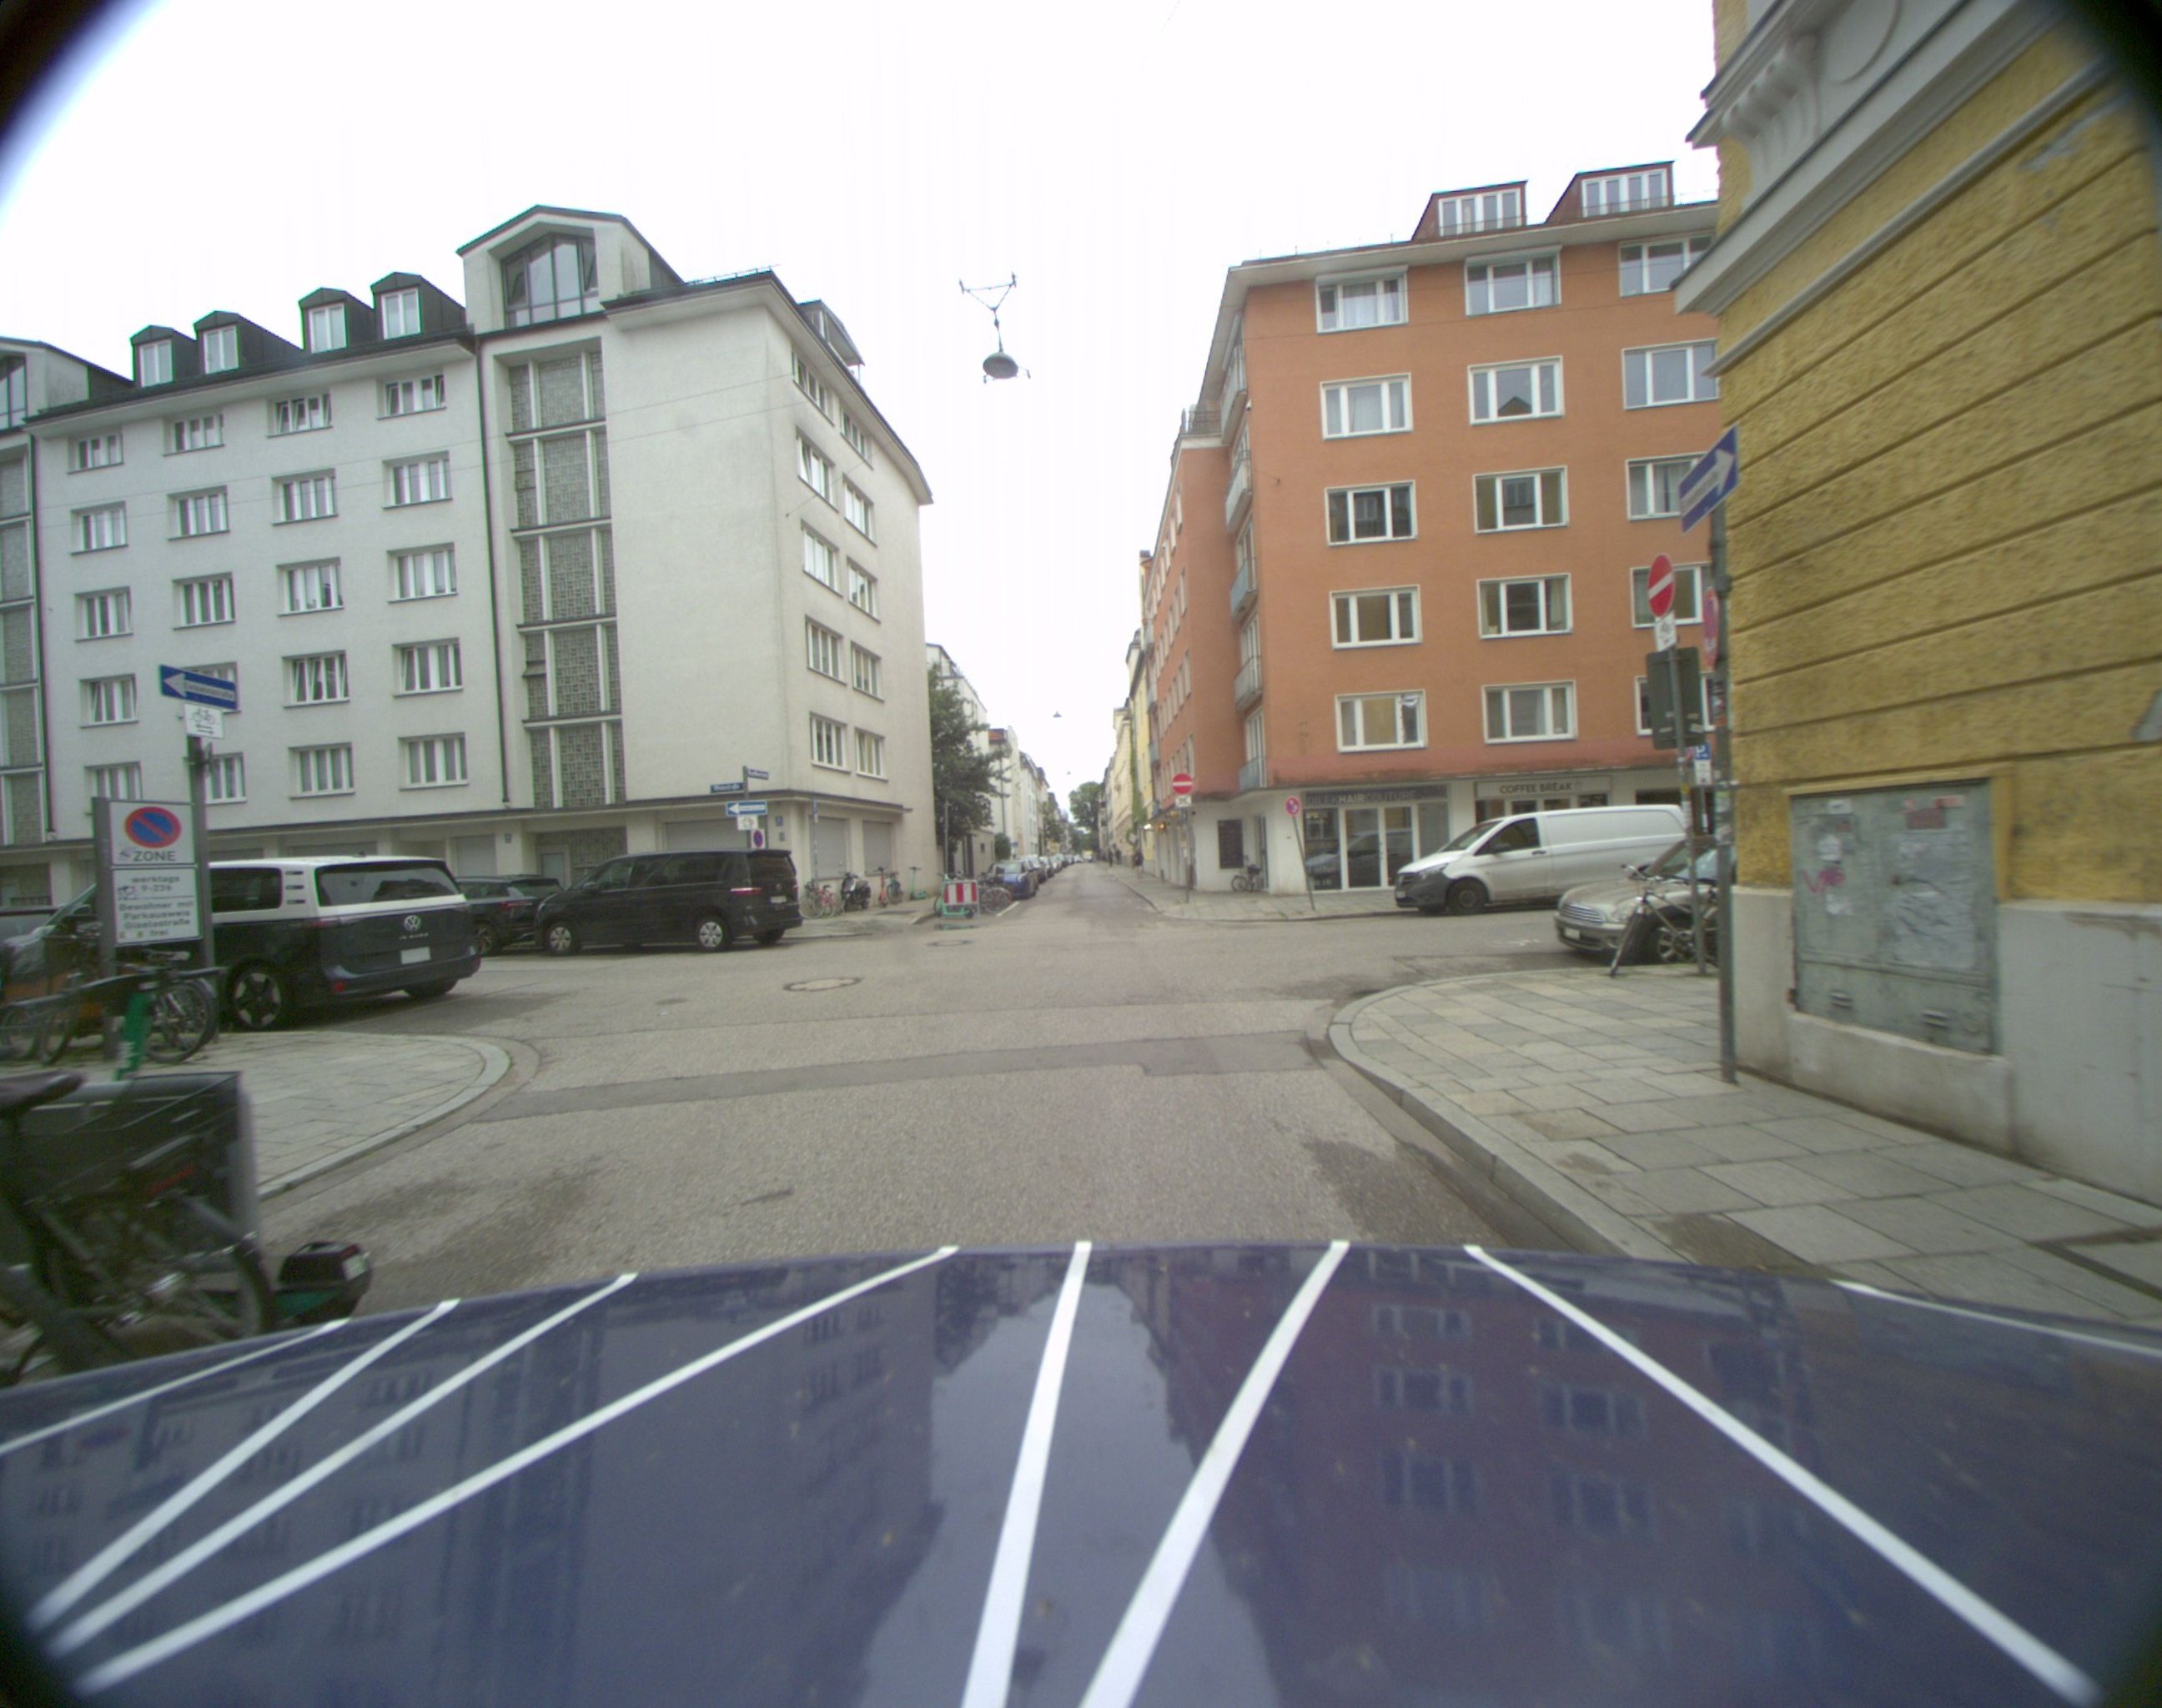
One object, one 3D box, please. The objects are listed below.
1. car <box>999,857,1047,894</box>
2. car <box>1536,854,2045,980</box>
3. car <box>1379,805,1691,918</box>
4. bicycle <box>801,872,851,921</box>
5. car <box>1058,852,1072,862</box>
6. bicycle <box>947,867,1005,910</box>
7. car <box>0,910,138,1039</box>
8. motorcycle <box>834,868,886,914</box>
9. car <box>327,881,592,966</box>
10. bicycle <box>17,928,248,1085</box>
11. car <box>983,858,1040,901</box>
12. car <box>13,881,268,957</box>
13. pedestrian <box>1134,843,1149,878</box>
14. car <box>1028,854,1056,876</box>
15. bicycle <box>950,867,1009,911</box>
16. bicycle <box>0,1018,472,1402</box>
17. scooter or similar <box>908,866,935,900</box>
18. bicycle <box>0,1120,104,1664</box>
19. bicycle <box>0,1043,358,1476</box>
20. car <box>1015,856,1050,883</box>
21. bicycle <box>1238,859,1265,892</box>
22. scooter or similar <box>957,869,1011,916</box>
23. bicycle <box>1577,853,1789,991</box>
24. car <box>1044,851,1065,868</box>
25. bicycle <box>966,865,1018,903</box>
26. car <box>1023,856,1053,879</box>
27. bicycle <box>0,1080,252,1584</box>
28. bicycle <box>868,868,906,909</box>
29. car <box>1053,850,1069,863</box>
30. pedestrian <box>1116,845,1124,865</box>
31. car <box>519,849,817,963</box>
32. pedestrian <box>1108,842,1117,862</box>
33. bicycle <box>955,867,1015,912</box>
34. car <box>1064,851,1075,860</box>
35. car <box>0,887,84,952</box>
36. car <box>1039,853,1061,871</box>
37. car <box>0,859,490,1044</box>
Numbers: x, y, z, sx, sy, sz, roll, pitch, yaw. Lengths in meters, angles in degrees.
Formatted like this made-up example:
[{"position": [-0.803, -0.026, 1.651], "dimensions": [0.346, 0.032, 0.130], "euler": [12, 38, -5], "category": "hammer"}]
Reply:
[{"position": [-2.461, 0.884, 33.166], "dimensions": [1.653, 1.390, 4.000], "euler": [-2, 0, 1], "category": "car"}, {"position": [7.641, 0.653, 8.502], "dimensions": [4.081, 1.120, 1.573], "euler": [-2, 1, 3], "category": "car"}, {"position": [8.456, 0.192, 14.548], "dimensions": [4.678, 1.835, 1.935], "euler": [-2, -3, 4], "category": "car"}, {"position": [-6.830, 1.123, 20.417], "dimensions": [0.528, 1.207, 1.610], "euler": [-2, 1, 8], "category": "bicycle"}, {"position": [-2.204, 0.401, 104.774], "dimensions": [1.653, 1.390, 4.000], "euler": [-2, 0, 1], "category": "car"}, {"position": [-3.176, 1.030, 22.961], "dimensions": [1.608, 1.207, 0.529], "euler": [-2, 1, 3], "category": "bicycle"}, {"position": [-15.051, 1.578, 9.758], "dimensions": [4.208, 1.457, 1.742], "euler": [-2, 1, 8], "category": "car"}, {"position": [-6.452, 1.060, 22.273], "dimensions": [0.660, 1.225, 1.937], "euler": [-2, 1, 8], "category": "motorcycle"}, {"position": [-12.617, 1.387, 15.545], "dimensions": [4.208, 1.457, 1.742], "euler": [-2, 1, 8], "category": "car"}, {"position": [-8.094, 1.270, 6.497], "dimensions": [1.607, 1.207, 0.472], "euler": [0, 1, 9], "category": "bicycle"}, {"position": [-2.499, 0.885, 28.217], "dimensions": [1.653, 1.390, 4.000], "euler": [-2, 0, 1], "category": "car"}, {"position": [-21.591, 1.467, 17.514], "dimensions": [4.208, 1.457, 1.742], "euler": [-2, 1, 8], "category": "car"}, {"position": [2.910, 0.317, 36.813], "dimensions": [0.613, 1.684, 0.566], "euler": [-2, 1, 0], "category": "pedestrian"}, {"position": [-2.670, 0.713, 52.712], "dimensions": [1.653, 1.390, 4.000], "euler": [-2, 0, 1], "category": "car"}, {"position": [-2.978, 1.028, 22.396], "dimensions": [1.608, 1.207, 0.529], "euler": [-2, 1, 3], "category": "bicycle"}, {"position": [-3.271, 1.256, 2.768], "dimensions": [1.699, 1.154, 0.418], "euler": [-3, 1, 0], "category": "bicycle"}, {"position": [-5.738, 1.027, 27.389], "dimensions": [0.406, 1.160, 1.494], "euler": [-2, 1, 8], "category": "scooter or similar"}, {"position": [-3.276, 1.262, 1.664], "dimensions": [1.699, 1.154, 0.378], "euler": [-3, 1, 0], "category": "bicycle"}, {"position": [-3.287, 1.242, 2.362], "dimensions": [1.699, 1.154, 0.313], "euler": [-3, 1, 0], "category": "bicycle"}, {"position": [-2.707, 0.840, 43.076], "dimensions": [1.653, 1.390, 4.000], "euler": [-2, 0, 1], "category": "car"}, {"position": [5.071, 0.627, 22.682], "dimensions": [0.471, 0.923, 1.513], "euler": [-2, 1, 2], "category": "bicycle"}, {"position": [-2.606, 1.035, 20.395], "dimensions": [1.340, 1.207, 0.344], "euler": [-2, 1, 3], "category": "scooter or similar"}, {"position": [5.749, 0.624, 7.297], "dimensions": [1.608, 1.207, 0.529], "euler": [-2, 1, -2], "category": "bicycle"}, {"position": [-2.454, 0.500, 71.289], "dimensions": [1.653, 1.390, 4.000], "euler": [-2, 0, 1], "category": "car"}, {"position": [-2.958, 0.994, 25.376], "dimensions": [1.608, 1.207, 0.529], "euler": [-2, 1, 3], "category": "bicycle"}, {"position": [-2.702, 0.827, 48.340], "dimensions": [1.653, 1.390, 4.000], "euler": [-1, 0, 1], "category": "car"}, {"position": [-3.281, 1.265, 2.033], "dimensions": [1.699, 1.154, 0.313], "euler": [-3, 1, 0], "category": "bicycle"}, {"position": [-6.196, 1.088, 24.338], "dimensions": [0.528, 1.207, 1.610], "euler": [-2, 1, 8], "category": "bicycle"}, {"position": [-2.252, 0.314, 86.757], "dimensions": [1.653, 1.390, 4.000], "euler": [-2, 0, 1], "category": "car"}, {"position": [3.589, 0.094, 69.994], "dimensions": [0.699, 1.783, 0.763], "euler": [-2, 1, 1], "category": "pedestrian"}, {"position": [-7.745, 0.952, 14.468], "dimensions": [4.676, 1.880, 1.935], "euler": [-2, 0, 9], "category": "car"}, {"position": [2.889, -0.155, 69.991], "dimensions": [0.726, 1.783, 0.830], "euler": [-2, 1, 1], "category": "pedestrian"}, {"position": [-2.750, 1.025, 21.823], "dimensions": [1.608, 1.207, 0.529], "euler": [-2, 1, 3], "category": "bicycle"}, {"position": [-1.866, 0.255, 121.393], "dimensions": [1.653, 1.390, 4.000], "euler": [-2, 0, 1], "category": "car"}, {"position": [-27.359, 1.659, 18.570], "dimensions": [4.208, 1.457, 1.742], "euler": [-2, 1, 8], "category": "car"}, {"position": [-2.619, 0.620, 64.616], "dimensions": [1.653, 1.390, 4.000], "euler": [-2, 0, 1], "category": "car"}, {"position": [-10.093, 1.105, 9.179], "dimensions": [4.614, 1.862, 1.935], "euler": [-2, 1, 8], "category": "car"}]
